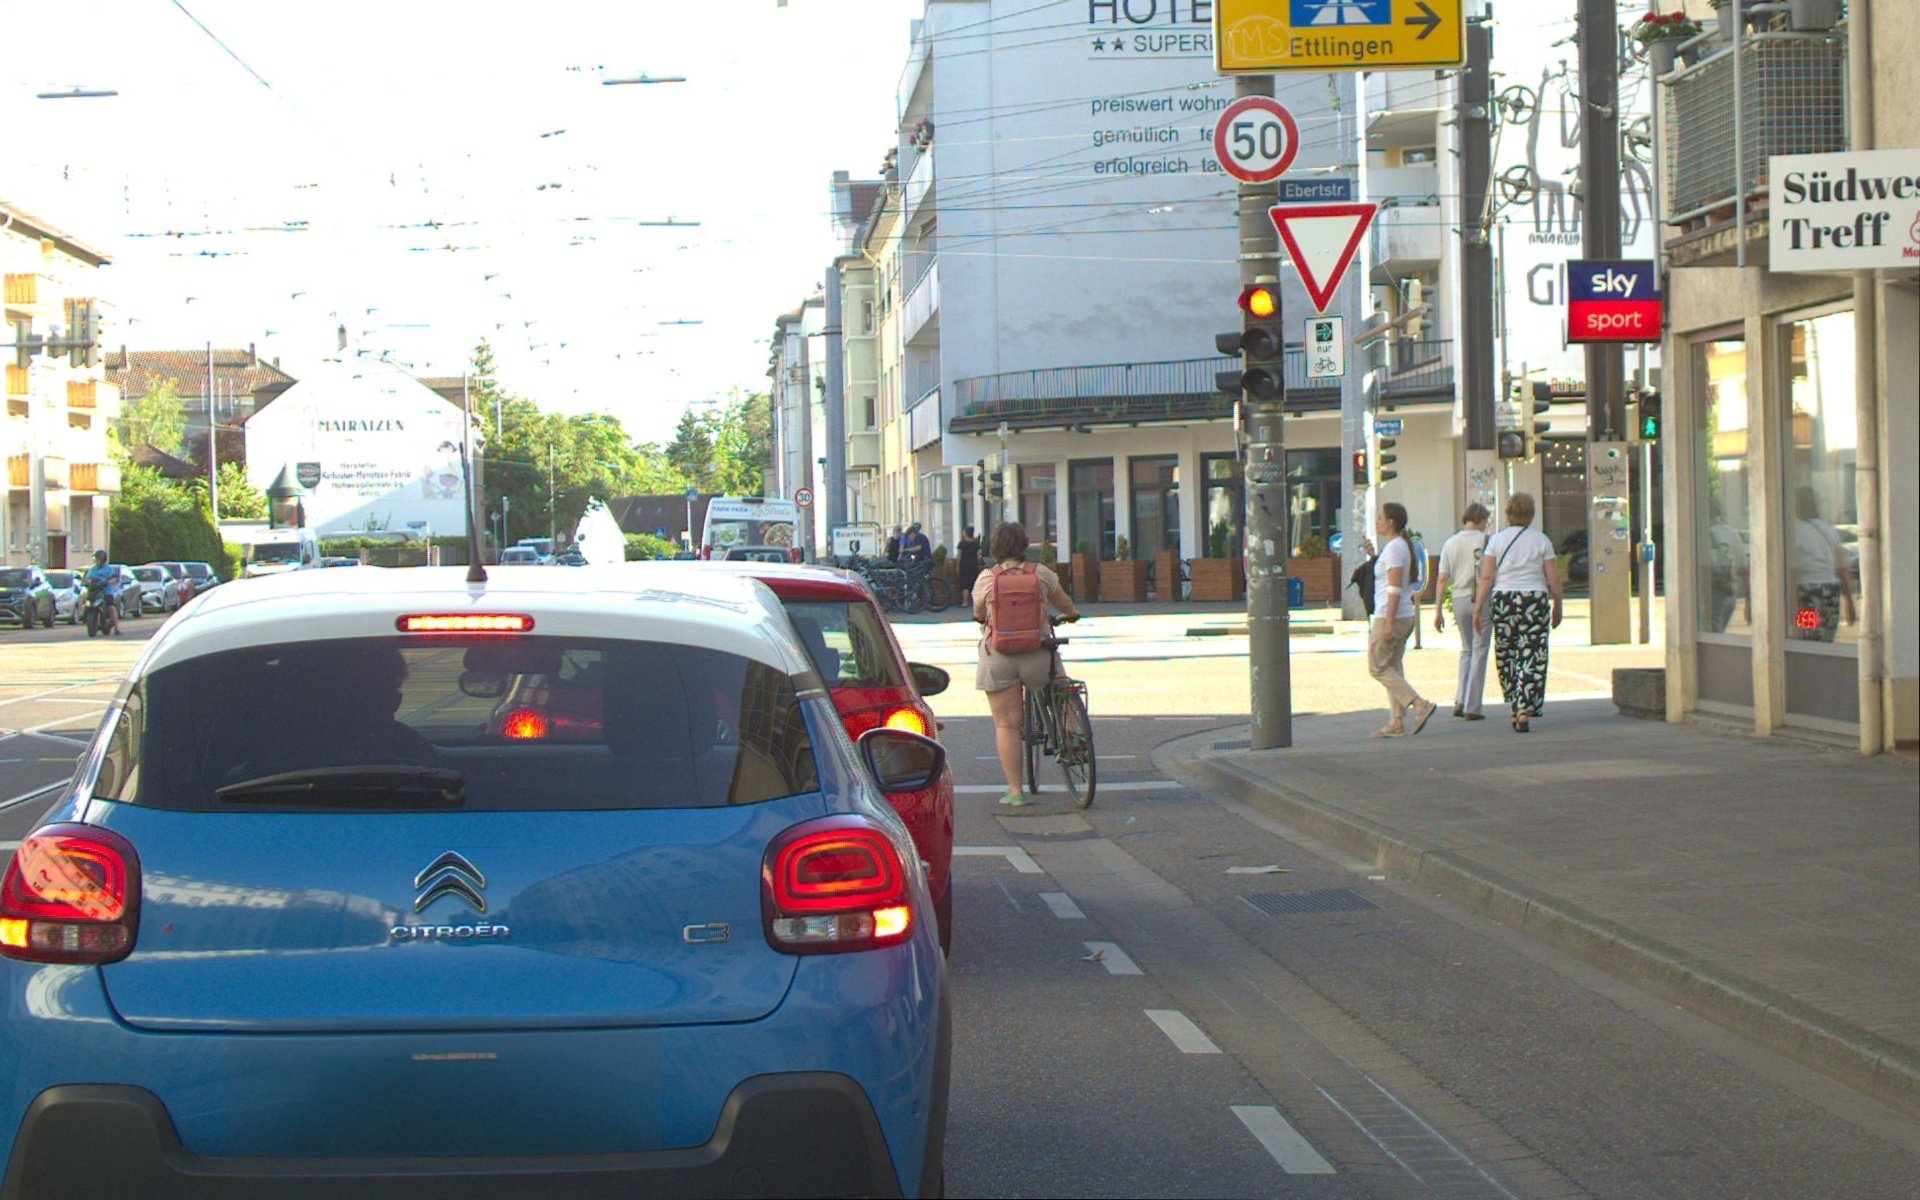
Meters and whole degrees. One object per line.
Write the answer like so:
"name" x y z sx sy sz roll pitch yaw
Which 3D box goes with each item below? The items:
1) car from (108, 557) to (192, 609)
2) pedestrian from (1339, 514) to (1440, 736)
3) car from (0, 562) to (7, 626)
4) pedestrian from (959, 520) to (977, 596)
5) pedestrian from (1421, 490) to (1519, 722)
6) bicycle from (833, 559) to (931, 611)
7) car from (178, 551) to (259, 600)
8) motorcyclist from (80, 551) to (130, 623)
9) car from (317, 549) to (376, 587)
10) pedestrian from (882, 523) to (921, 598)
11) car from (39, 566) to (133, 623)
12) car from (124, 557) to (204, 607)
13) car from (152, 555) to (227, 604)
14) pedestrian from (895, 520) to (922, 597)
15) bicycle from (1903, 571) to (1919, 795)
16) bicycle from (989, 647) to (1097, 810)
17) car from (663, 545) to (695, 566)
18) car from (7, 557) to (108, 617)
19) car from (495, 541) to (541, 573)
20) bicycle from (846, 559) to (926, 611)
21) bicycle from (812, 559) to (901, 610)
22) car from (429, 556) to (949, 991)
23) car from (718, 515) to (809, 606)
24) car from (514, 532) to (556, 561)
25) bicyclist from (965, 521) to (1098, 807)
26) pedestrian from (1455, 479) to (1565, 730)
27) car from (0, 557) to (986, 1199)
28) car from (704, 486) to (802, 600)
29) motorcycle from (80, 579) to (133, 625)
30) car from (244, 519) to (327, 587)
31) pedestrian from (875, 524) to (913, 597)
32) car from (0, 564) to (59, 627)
"car" -24.975 -0.534 106.076 1.910 1.492 4.001 -1 1 -5
"pedestrian" 3.010 0.165 24.126 0.541 1.502 0.611 -3 3 -2
"car" -23.345 -0.095 79.181 1.910 1.492 4.001 -1 1 -5
"pedestrian" 0.166 -0.854 70.143 0.284 1.550 0.305 -1 1 -9
"pedestrian" 3.795 0.035 25.604 0.541 1.666 0.624 -3 3 -2
"bicycle" -1.519 -0.297 67.053 1.874 0.953 0.702 -1 1 1
"car" -26.200 -0.872 121.591 2.030 1.614 4.511 -1 1 -3
"motorcyclist" -16.686 -0.251 67.124 0.719 1.373 0.911 -1 1 0
"car" -25.769 -1.347 144.490 2.021 1.520 4.001 -1 1 -4
"pedestrian" -1.232 -0.838 72.653 0.646 1.550 0.493 -2 1 -22
"car" -24.797 -0.174 97.675 1.910 1.492 4.001 -1 1 -5
"car" -25.700 -0.593 111.075 1.910 1.492 4.001 -1 1 -5
"car" -26.007 -0.709 116.166 1.870 1.568 4.001 -1 1 -4
"pedestrian" -1.044 -0.843 69.937 0.491 1.550 0.384 -1 1 -3
"bicycle" 4.910 0.407 15.790 0.530 1.068 1.811 -1 1 -4
"bicycle" 0.483 0.749 20.605 0.498 0.861 1.749 -1 1 -3
"car" -17.471 -2.792 213.481 1.754 1.255 3.833 -1 1 -7
"car" -24.139 -0.369 92.099 1.910 1.492 4.001 -1 1 -5
"car" -21.763 -2.113 169.401 2.021 1.520 4.001 -1 1 -4
"bicycle" -1.416 -0.283 65.994 1.504 0.953 0.702 -1 1 1
"bicycle" -2.060 -0.309 68.412 1.720 0.953 0.702 -1 1 1
"car" -0.940 0.563 13.645 1.738 1.415 4.000 -1 1 -1
"car" -3.869 -0.784 67.521 1.732 1.744 3.214 0 1 -4
"car" -23.156 -2.938 187.432 2.021 1.520 4.001 -1 1 -4
"bicyclist" 0.416 0.364 20.289 0.726 1.640 0.790 -1 1 -1
"pedestrian" 3.769 0.025 23.578 0.541 1.666 0.650 -3 1 -2
"car" -1.053 0.647 7.422 1.743 1.457 4.001 0 1 -7
"car" -4.361 -1.189 72.431 1.993 2.317 4.001 0 1 -4
"motorcycle" -16.692 0.033 67.283 0.615 0.861 1.671 -1 1 0
"car" -23.378 -1.640 119.303 2.206 2.243 4.678 -1 1 -4
"pedestrian" -1.435 -0.859 74.456 0.646 1.550 0.493 -2 1 -22
"car" -23.872 -0.121 85.964 1.910 1.492 4.001 -1 1 -5
